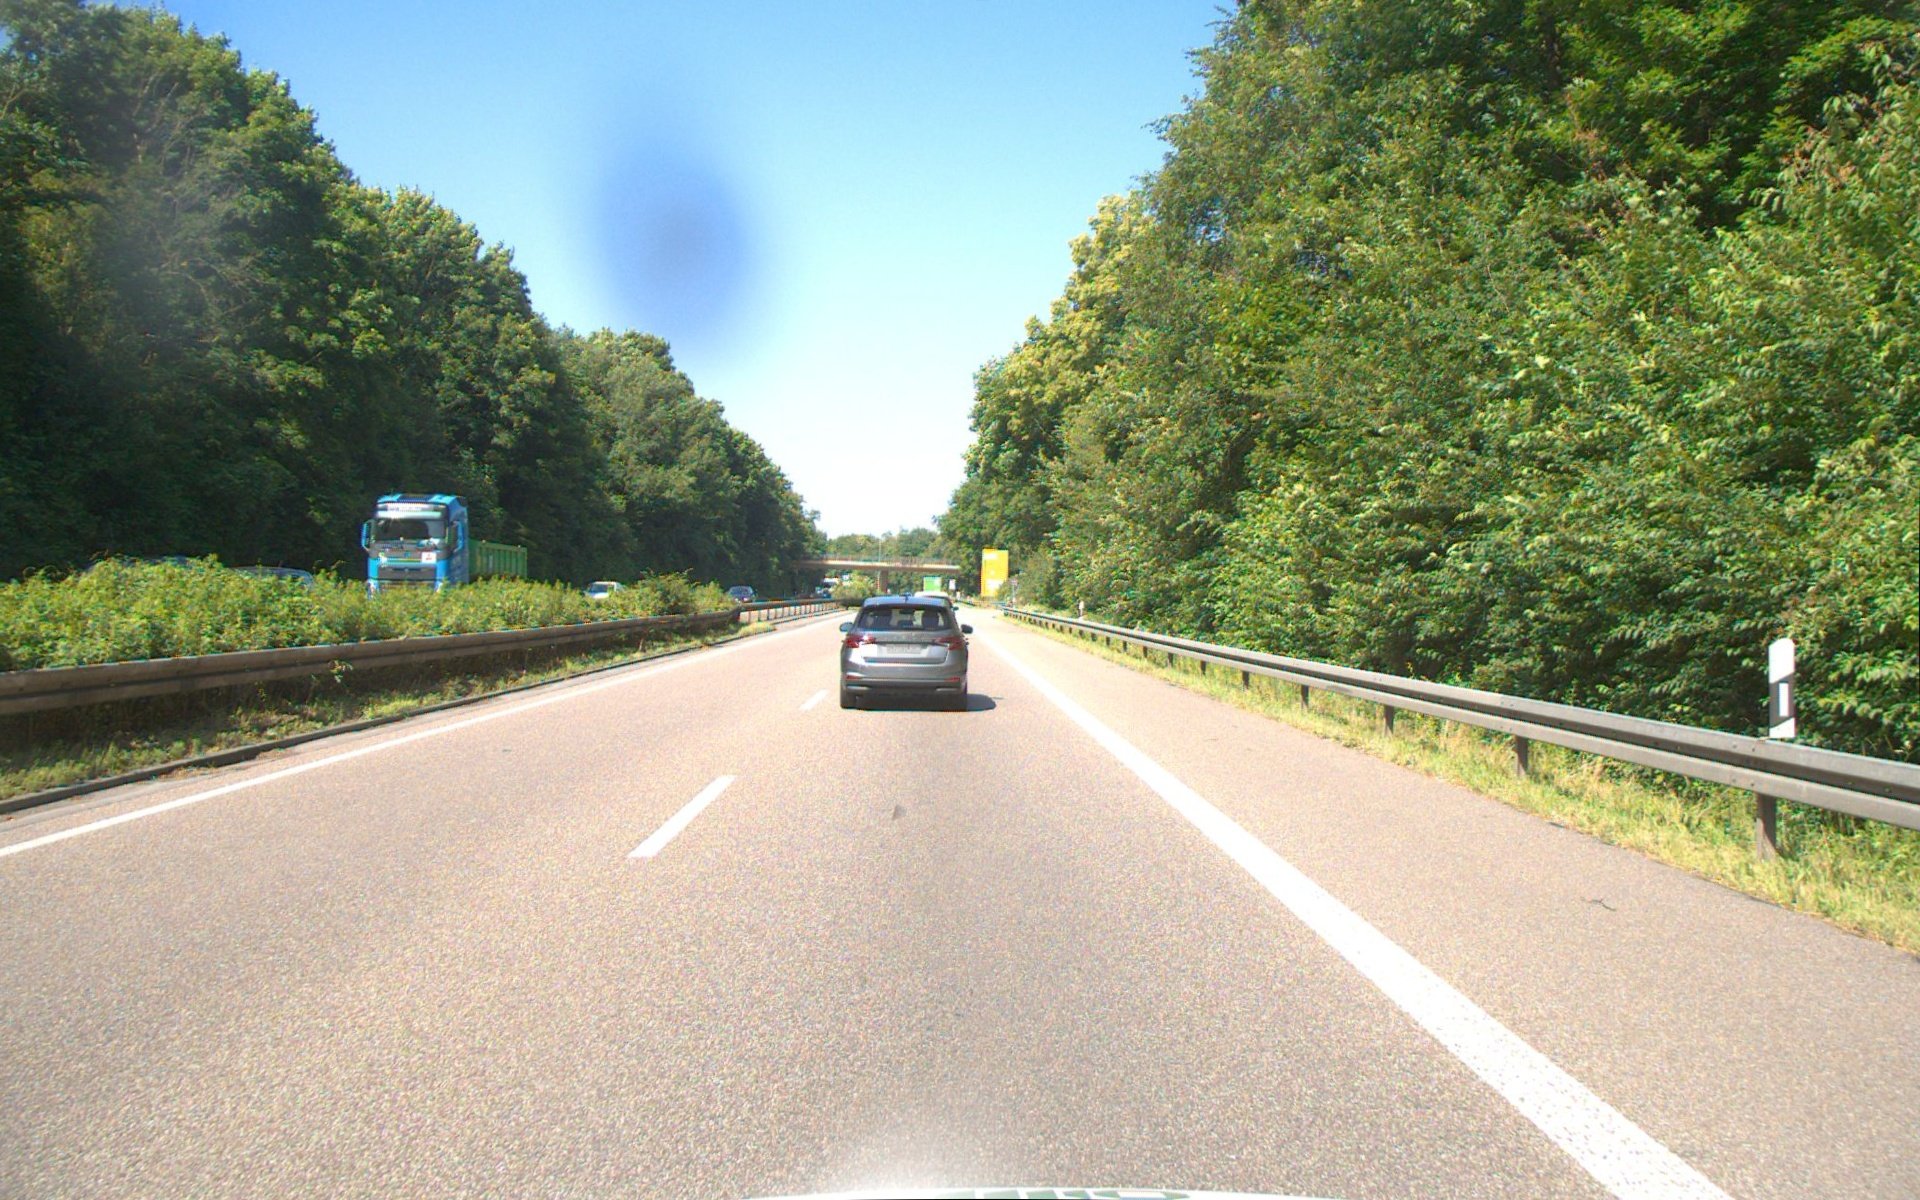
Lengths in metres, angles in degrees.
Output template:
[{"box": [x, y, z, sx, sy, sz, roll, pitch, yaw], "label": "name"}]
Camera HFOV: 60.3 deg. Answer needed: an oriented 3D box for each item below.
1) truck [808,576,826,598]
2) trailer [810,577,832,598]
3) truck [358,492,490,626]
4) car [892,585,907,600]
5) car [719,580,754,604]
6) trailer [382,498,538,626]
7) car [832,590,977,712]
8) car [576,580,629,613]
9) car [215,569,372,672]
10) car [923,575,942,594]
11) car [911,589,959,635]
[{"box": [-22.031, -1.994, 255.430, 2.376, 3.315, 3.999, 1, 0, -1], "label": "truck"}, {"box": [-22.072, -1.987, 262.783, 2.442, 3.292, 14.429, 1, 0, -1], "label": "trailer"}, {"box": [-15.846, -1.175, 49.149, 2.592, 3.771, 3.999, 1, 0, -1], "label": "truck"}, {"box": [-8.198, -1.033, 224.411, 1.953, 2.049, 3.999, 1, 0, -1], "label": "car"}, {"box": [-14.092, -0.486, 104.264, 1.638, 1.499, 3.623, 1, 0, 1], "label": "car"}, {"box": [-15.912, -1.143, 53.299, 2.633, 3.777, 7.983, 1, 0, -1], "label": "trailer"}, {"box": [-0.679, 0.627, 22.557, 1.802, 1.497, 3.624, 1, 1, 1], "label": "car"}, {"box": [-16.841, -0.182, 78.096, 1.638, 1.499, 3.623, 1, 0, 1], "label": "car"}, {"box": [-11.767, 0.316, 29.399, 1.420, 1.691, 3.510, -1, 1, -2], "label": "car"}, {"box": [-3.976, -2.250, 242.588, 2.693, 2.700, 3.999, 1, 0, -1], "label": "car"}, {"box": [-0.813, 0.386, 55.464, 1.491, 1.472, 3.340, 1, 1, 1], "label": "car"}]
